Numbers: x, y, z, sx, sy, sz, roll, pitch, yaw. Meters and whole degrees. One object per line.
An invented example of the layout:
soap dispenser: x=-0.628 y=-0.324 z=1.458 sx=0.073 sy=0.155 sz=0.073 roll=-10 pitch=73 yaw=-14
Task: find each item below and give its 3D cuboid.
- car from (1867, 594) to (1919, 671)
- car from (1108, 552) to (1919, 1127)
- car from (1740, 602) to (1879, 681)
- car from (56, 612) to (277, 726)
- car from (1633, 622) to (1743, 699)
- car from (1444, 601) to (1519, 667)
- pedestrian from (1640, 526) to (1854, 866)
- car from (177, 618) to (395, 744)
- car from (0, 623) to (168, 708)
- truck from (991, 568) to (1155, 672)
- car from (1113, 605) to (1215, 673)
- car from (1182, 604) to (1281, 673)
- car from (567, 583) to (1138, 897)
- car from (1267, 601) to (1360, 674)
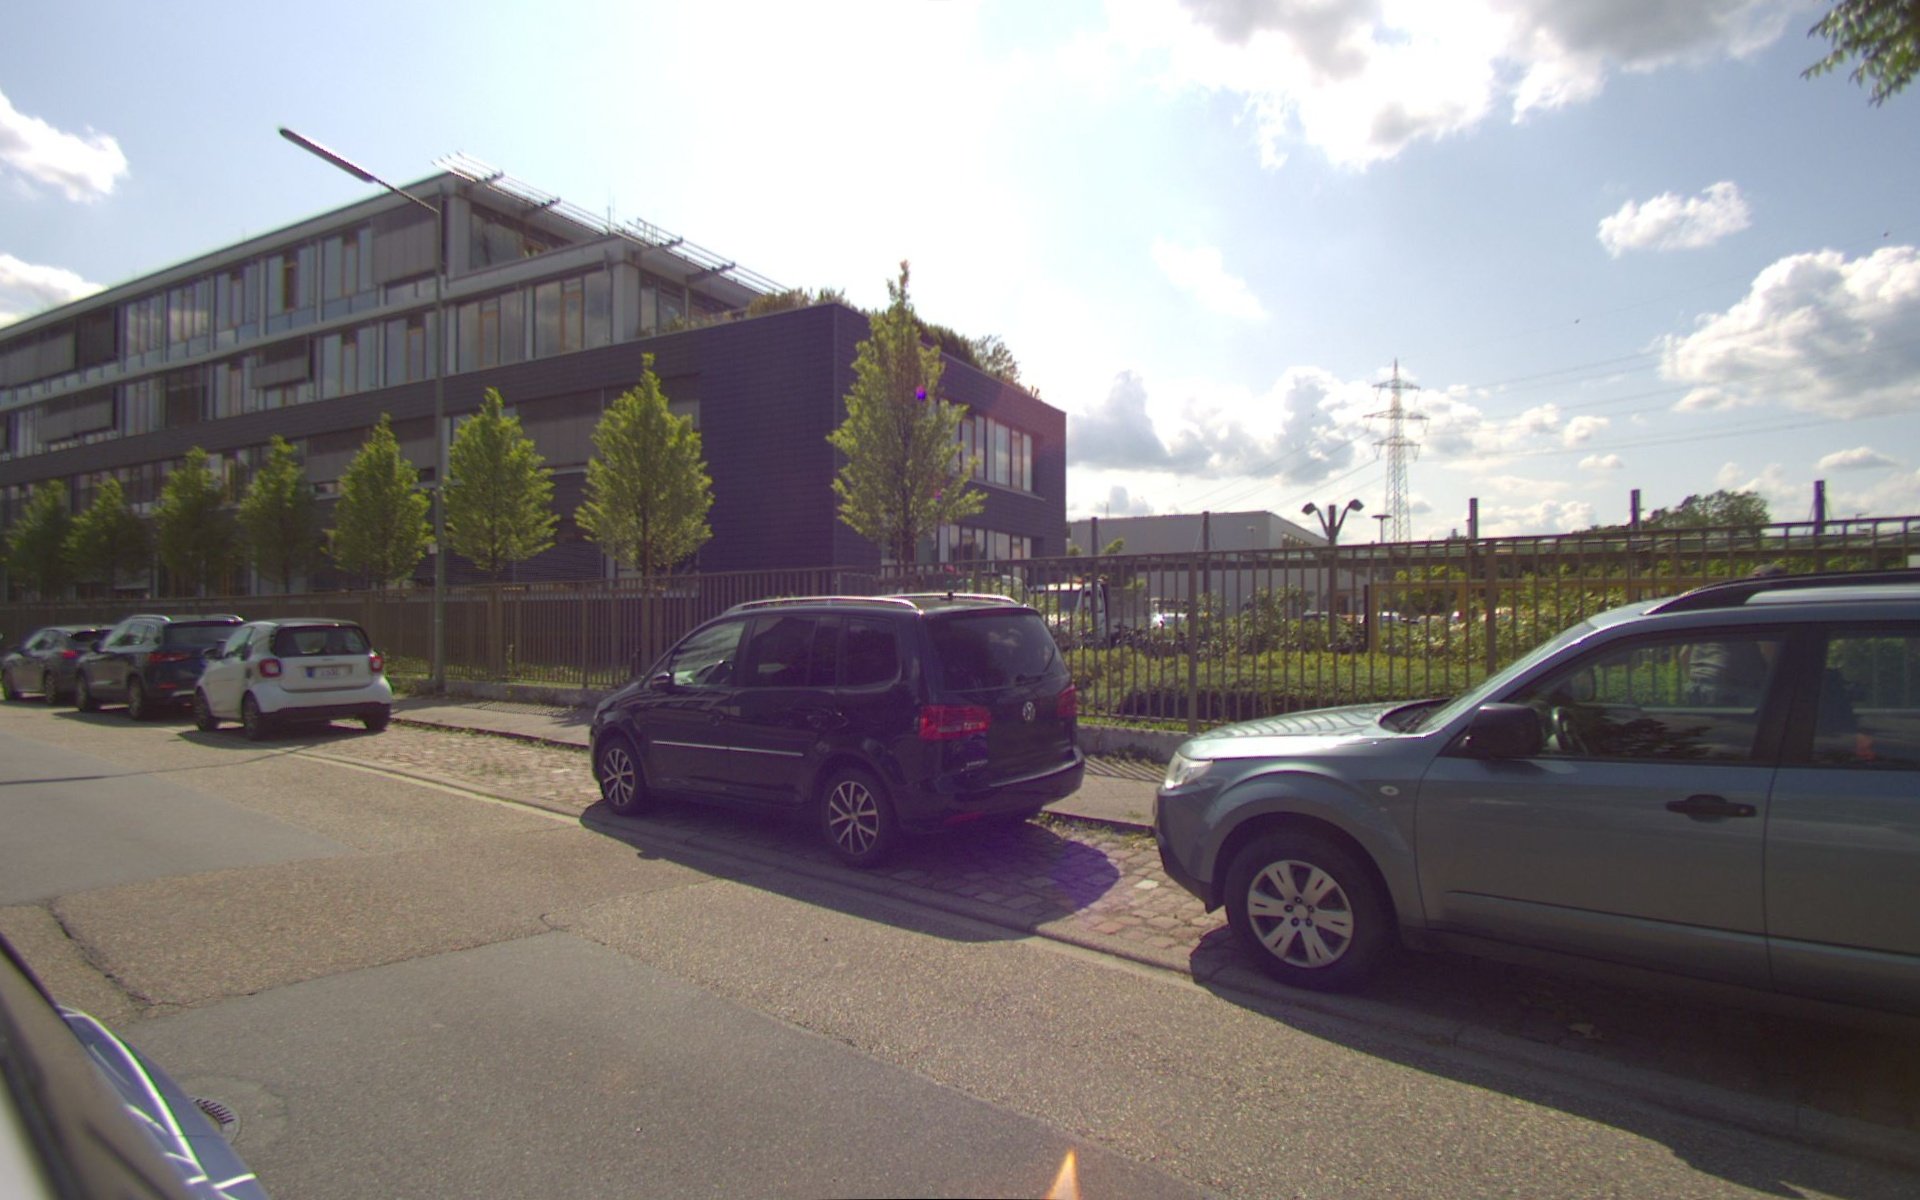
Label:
car: x=23.240 y=0.722 z=23.908 sx=1.739 sy=1.701 sz=3.963 roll=-1 pitch=0 yaw=28
car: x=3.049 y=0.692 z=3.858 sx=4.686 sy=1.663 sz=1.781 roll=-1 pitch=0 yaw=40
car: x=20.881 y=0.963 z=25.065 sx=1.751 sy=1.739 sz=4.035 roll=-1 pitch=0 yaw=28
car: x=-13.183 y=1.049 z=16.742 sx=4.300 sy=1.669 sz=1.719 roll=-1 pitch=-1 yaw=35
car: x=18.812 y=1.495 z=26.316 sx=1.739 sy=1.701 sz=3.963 roll=-1 pitch=0 yaw=28
car: x=14.780 y=0.904 z=28.720 sx=1.739 sy=1.701 sz=3.963 roll=-1 pitch=0 yaw=28
pedestrian: x=4.569 y=0.499 z=5.877 sx=0.818 sy=1.774 sz=0.846 roll=-1 pitch=0 yaw=-44
car: x=-9.373 y=1.036 z=14.023 sx=3.069 sy=1.534 sz=1.594 roll=-1 pitch=-1 yaw=37
car: x=-17.336 y=1.212 z=19.807 sx=3.918 sy=1.456 sz=1.720 roll=-1 pitch=0 yaw=33
truck: x=3.516 y=0.587 z=29.836 sx=2.394 sy=2.678 sz=6.867 roll=-1 pitch=-1 yaw=28
car: x=5.725 y=1.021 z=28.025 sx=1.739 sy=1.701 sz=3.963 roll=-1 pitch=0 yaw=28
car: x=7.331 y=0.985 z=27.111 sx=1.739 sy=1.701 sz=3.962 roll=-1 pitch=-1 yaw=28
car: x=-0.988 y=0.775 z=7.498 sx=4.227 sy=1.695 sz=1.758 roll=-1 pitch=0 yaw=40
car: x=9.162 y=0.942 z=26.065 sx=1.739 sy=1.701 sz=3.963 roll=-1 pitch=-2 yaw=27
